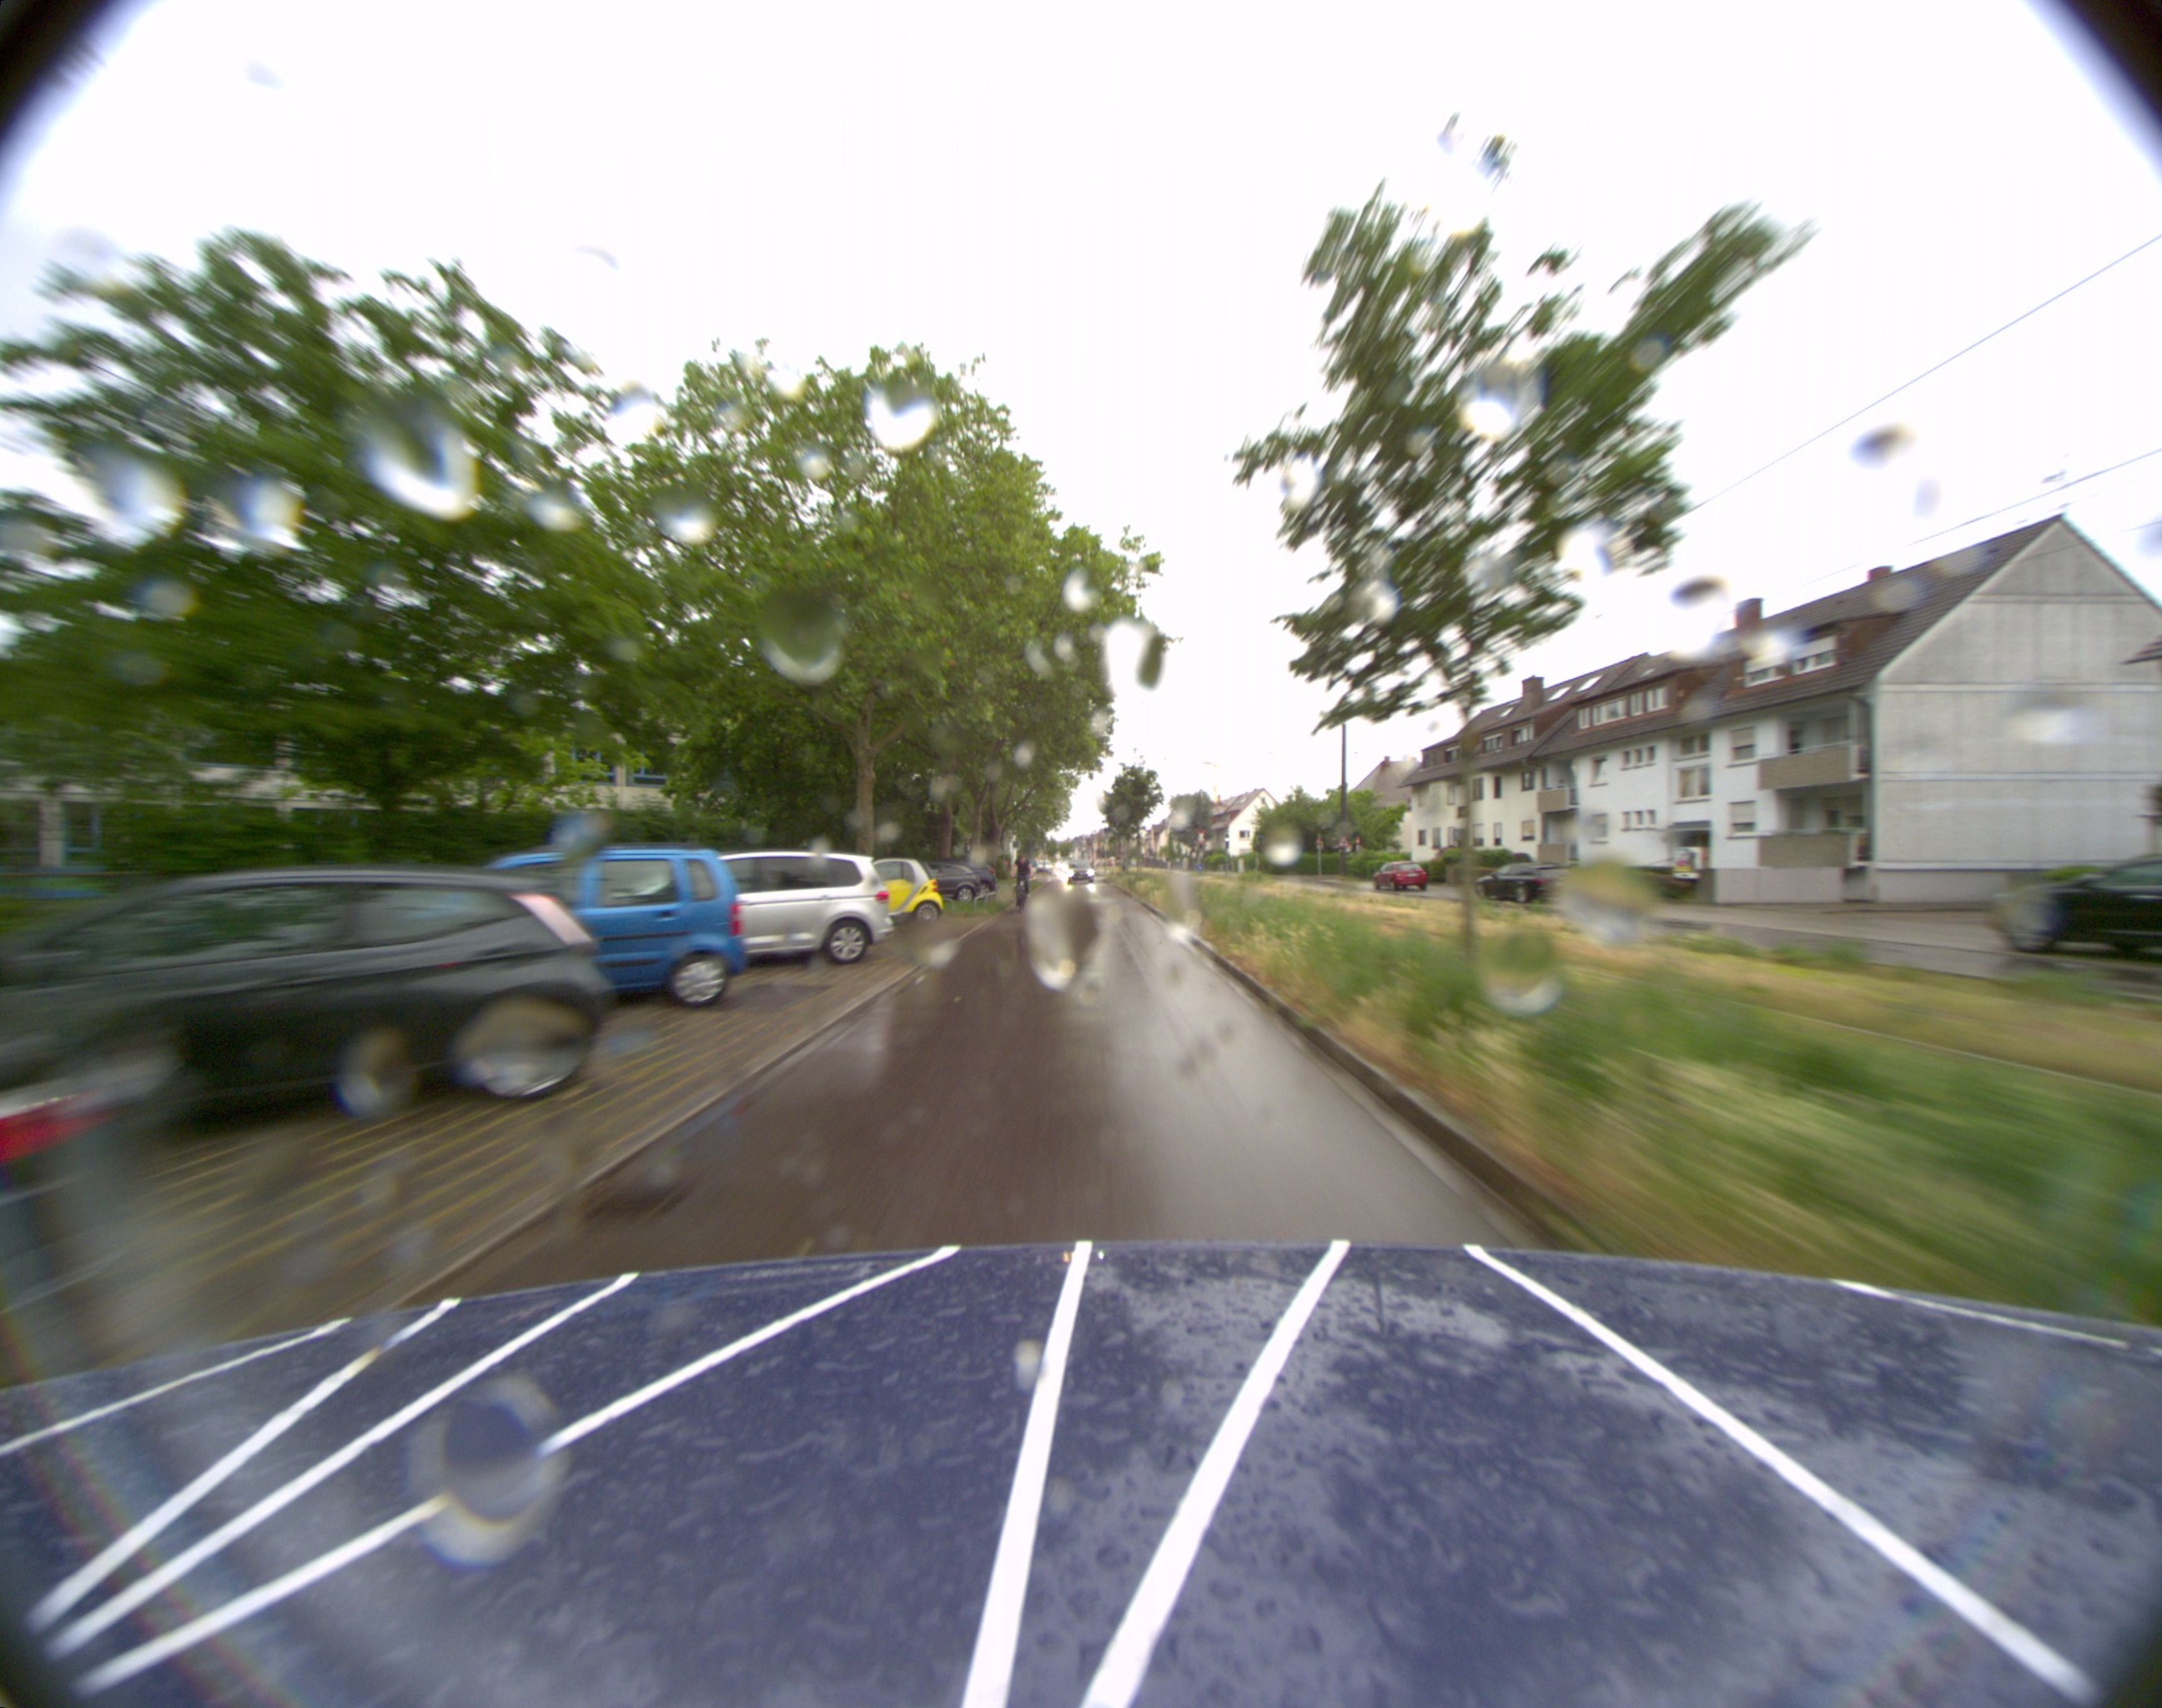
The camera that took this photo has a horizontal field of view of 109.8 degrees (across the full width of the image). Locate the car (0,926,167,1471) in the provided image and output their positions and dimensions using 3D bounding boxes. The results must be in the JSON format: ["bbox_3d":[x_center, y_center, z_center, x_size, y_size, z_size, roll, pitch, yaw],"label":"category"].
[{"bbox_3d":[-4.975,0.995,1.151,4.314,1.376,1.736,-1,0,-39],"label":"car"}]

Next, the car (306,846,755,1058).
[{"bbox_3d":[-5.172,0.805,7.567,3.281,1.662,1.588,1,1,-33],"label":"car"}]

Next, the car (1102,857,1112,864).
[{"bbox_3d":[7.055,1.816,206.212,2.000,2.002,3.997,0,0,-7],"label":"car"}]

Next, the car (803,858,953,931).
[{"bbox_3d":[-4.537,0.875,16.930,2.910,1.457,1.600,1,1,-28],"label":"car"}]

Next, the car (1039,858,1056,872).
[{"bbox_3d":[-3.798,1.279,86.895,1.781,1.477,4.000,2,0,-1],"label":"car"}]

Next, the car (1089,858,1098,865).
[{"bbox_3d":[3.415,2.041,213.268,2.000,2.002,3.997,0,0,-8],"label":"car"}]

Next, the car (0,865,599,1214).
[{"bbox_3d":[-4.961,0.863,4.497,3.412,1.509,1.845,1,1,-37],"label":"car"}]

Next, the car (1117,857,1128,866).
[{"bbox_3d":[9.855,1.792,179.903,2.000,2.002,3.997,0,0,-7],"label":"car"}]

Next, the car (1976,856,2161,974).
[{"bbox_3d":[16.590,0.886,11.028,1.999,1.665,4.387,-1,0,-1],"label":"car"}]

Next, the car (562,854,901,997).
[{"bbox_3d":[-4.769,0.834,10.648,4.056,1.631,1.650,0,1,-37],"label":"car"}]

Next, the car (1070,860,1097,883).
[{"bbox_3d":[0.156,1.219,53.662,1.781,1.477,4.000,2,0,-1],"label":"car"}]

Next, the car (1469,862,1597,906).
[{"bbox_3d":[16.543,1.042,28.142,1.998,1.402,4.762,-2,0,2],"label":"car"}]

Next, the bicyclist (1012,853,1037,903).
[{"bbox_3d":[-1.644,0.691,22.326,0.675,1.421,0.753,-2,0,-3],"label":"bicyclist"}]

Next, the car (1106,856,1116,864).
[{"bbox_3d":[7.901,1.662,200.901,2.000,2.002,3.997,0,0,-7],"label":"car"}]

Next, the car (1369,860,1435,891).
[{"bbox_3d":[16.516,1.089,39.333,1.802,1.448,4.001,-2,0,2],"label":"car"}]

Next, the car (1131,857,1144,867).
[{"bbox_3d":[11.815,1.667,158.593,2.000,2.002,3.998,0,0,-6],"label":"car"}]

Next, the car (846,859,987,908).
[{"bbox_3d":[-5.276,0.923,24.567,4.071,1.410,1.737,1,1,-36],"label":"car"}]

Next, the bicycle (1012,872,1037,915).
[{"bbox_3d":[-1.645,1.141,22.420,0.675,1.136,2.444,-1,0,-3],"label":"bicycle"}]

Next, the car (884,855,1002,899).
[{"bbox_3d":[-5.064,0.845,27.906,3.812,1.523,1.878,1,-1,-32],"label":"car"}]

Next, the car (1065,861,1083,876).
[{"bbox_3d":[-0.771,1.584,82.435,1.781,1.477,4.000,2,0,-1],"label":"car"}]
